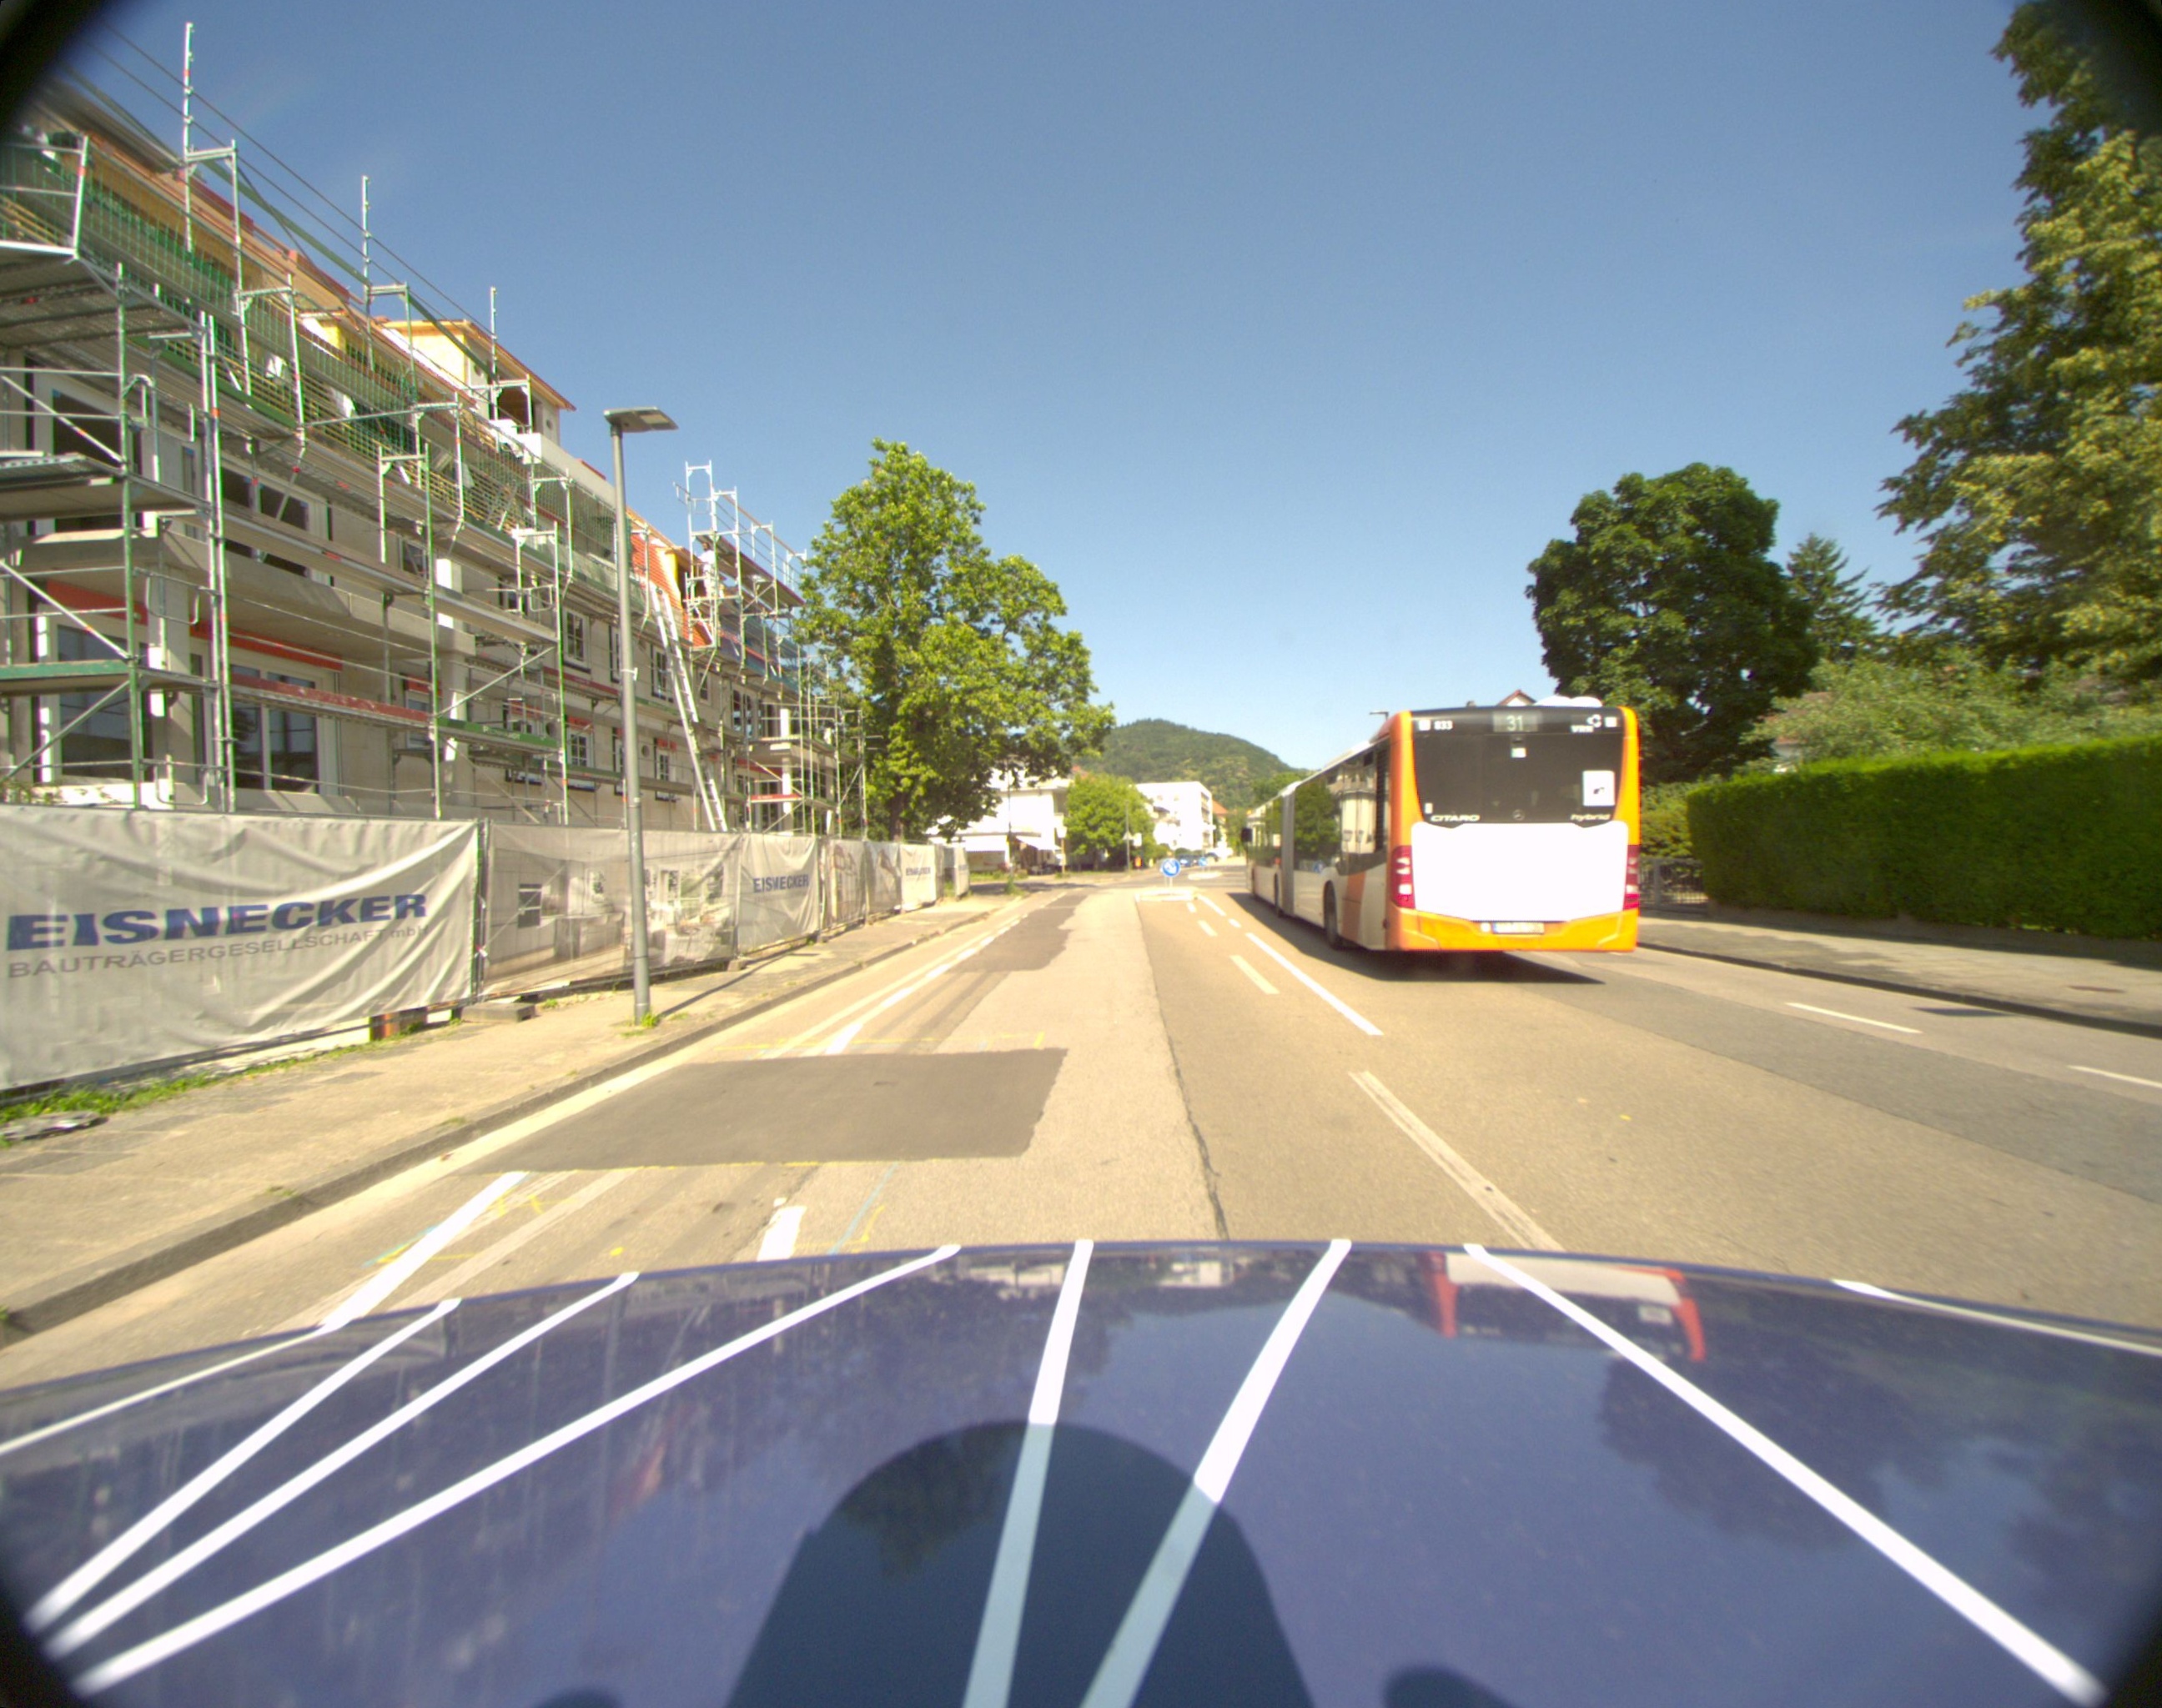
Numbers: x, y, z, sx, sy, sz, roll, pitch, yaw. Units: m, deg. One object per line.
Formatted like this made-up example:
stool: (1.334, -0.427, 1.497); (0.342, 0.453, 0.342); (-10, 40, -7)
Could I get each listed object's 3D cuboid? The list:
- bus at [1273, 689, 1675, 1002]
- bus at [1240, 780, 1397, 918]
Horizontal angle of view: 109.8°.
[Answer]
bus: (5.225, -0.106, 12.689); (2.750, 3.156, 9.783); (0, 0, 7)
bus: (6.474, -0.147, 22.405); (2.750, 3.156, 9.783); (0, 0, 7)
